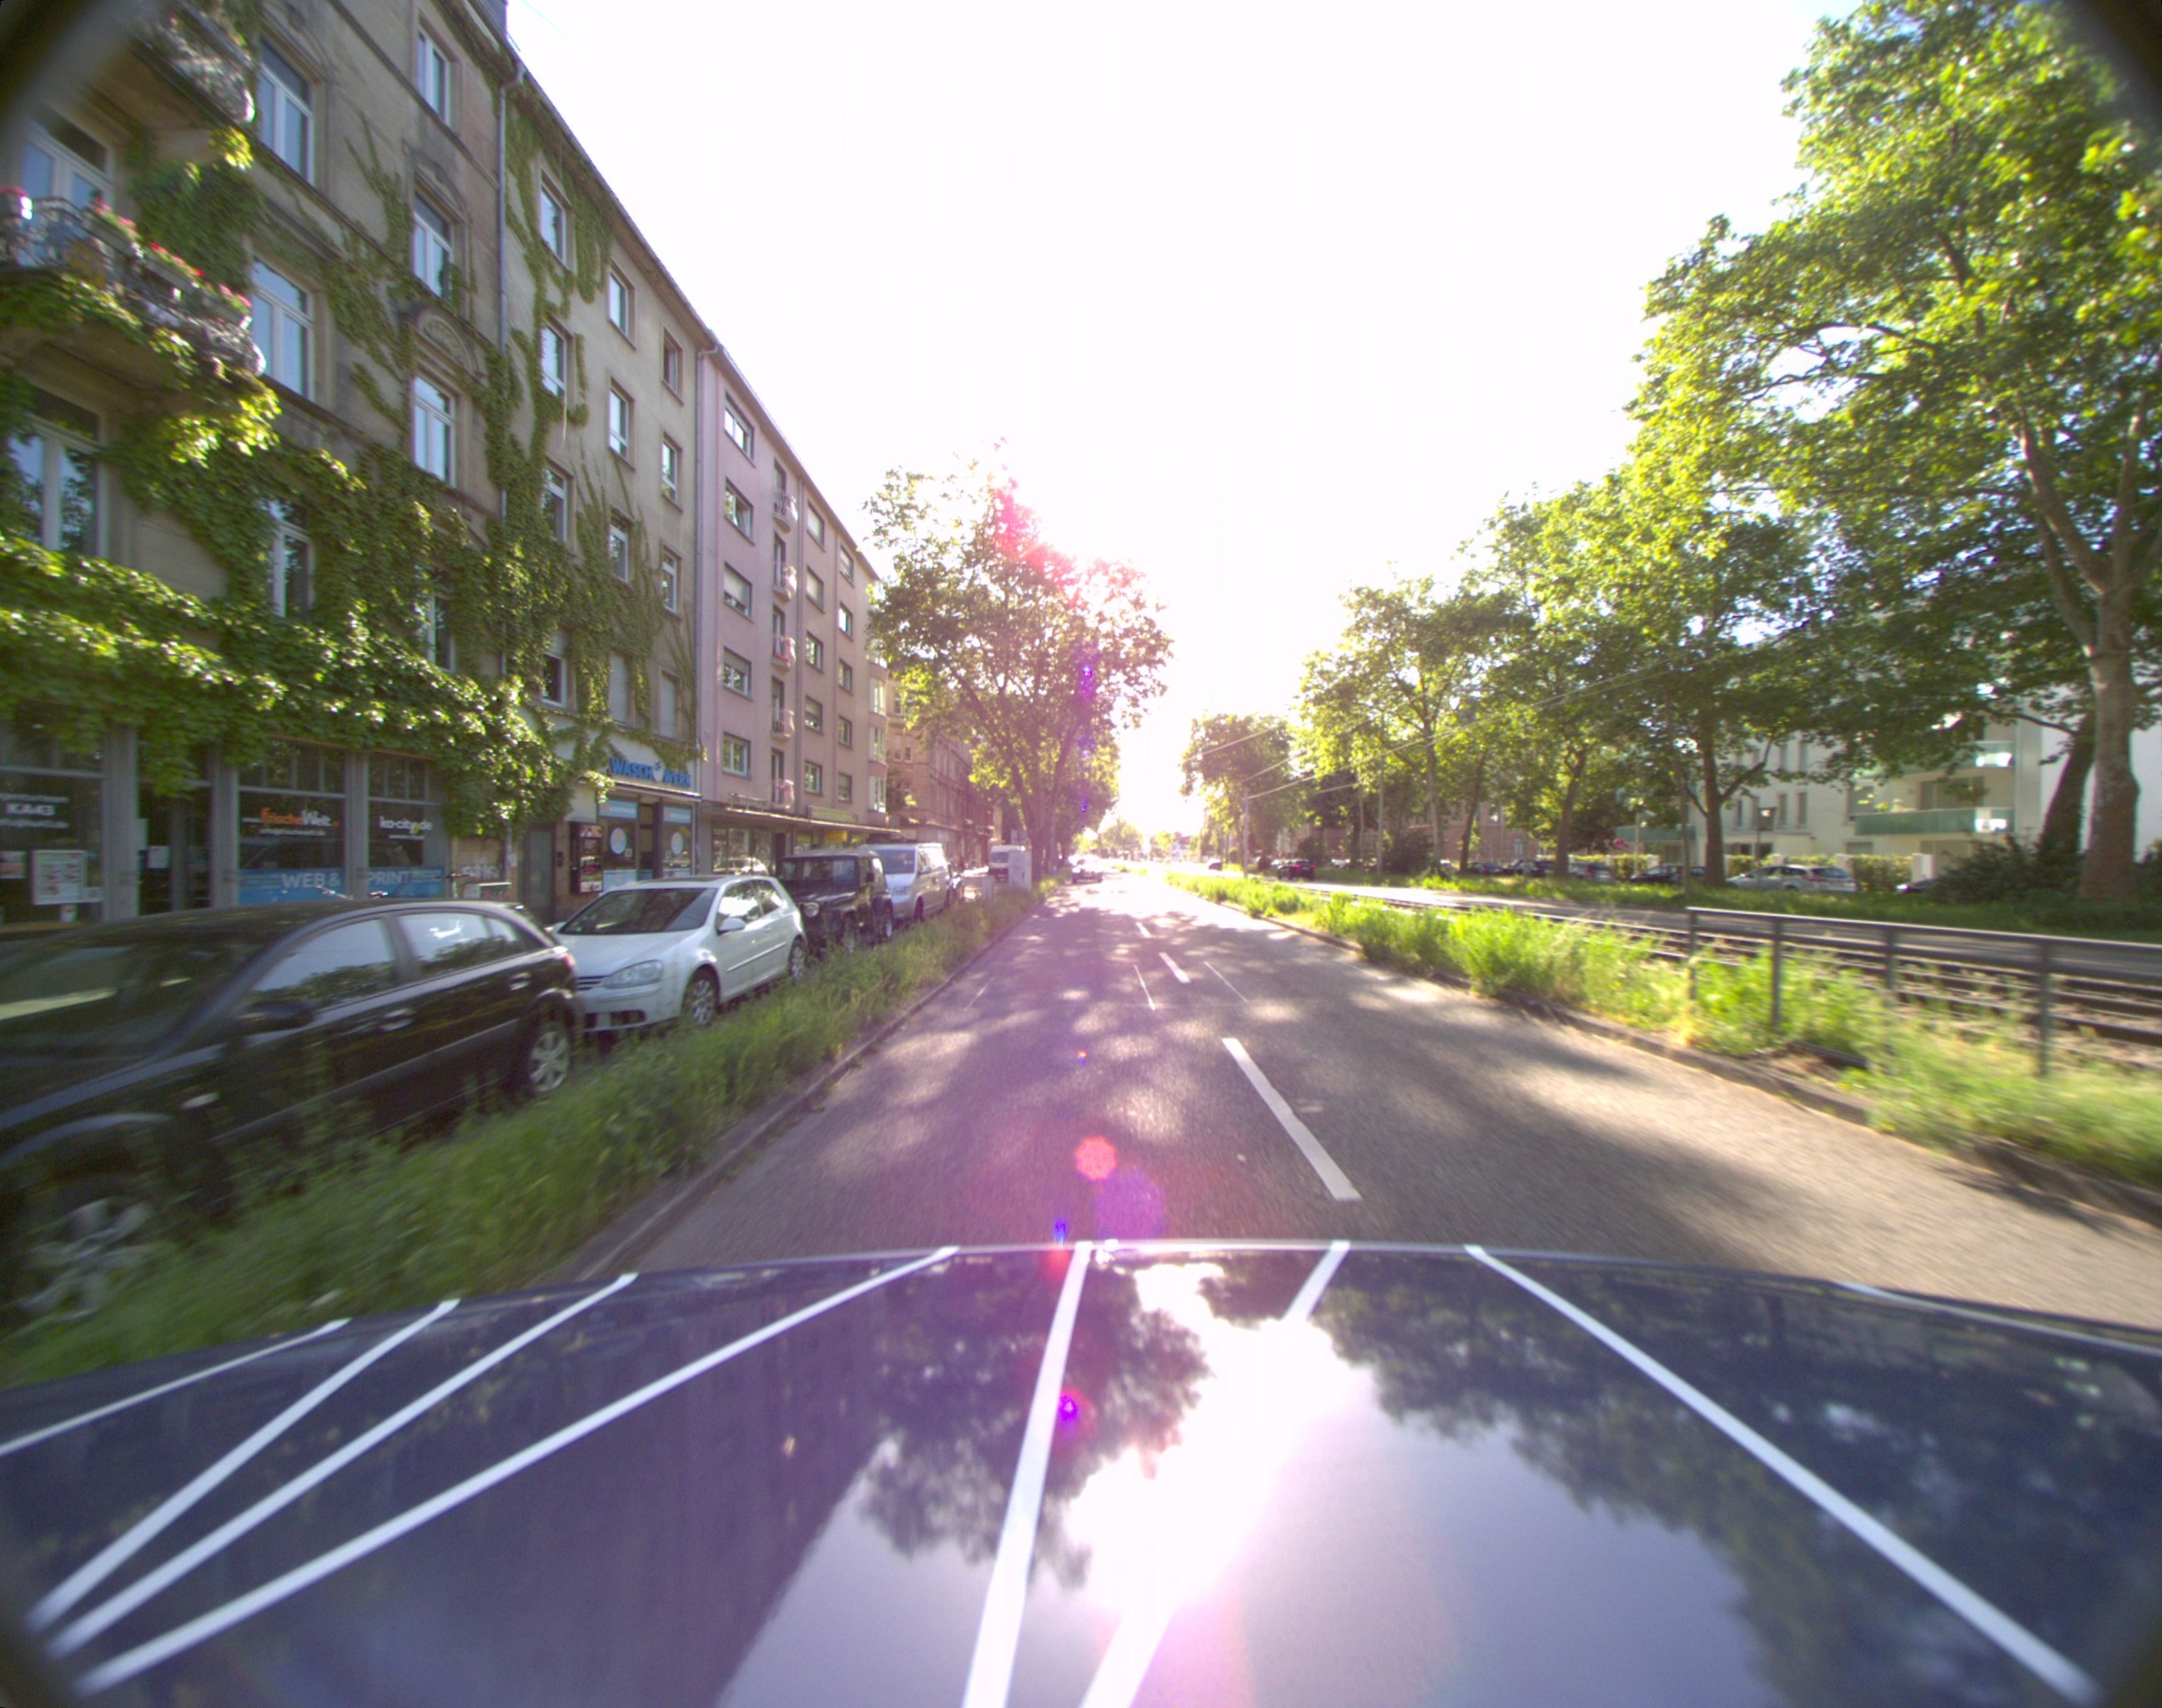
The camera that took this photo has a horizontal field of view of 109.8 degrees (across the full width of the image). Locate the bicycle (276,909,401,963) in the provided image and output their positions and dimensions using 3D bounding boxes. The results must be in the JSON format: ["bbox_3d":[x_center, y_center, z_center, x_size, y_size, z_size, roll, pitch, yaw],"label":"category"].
[{"bbox_3d":[-11.580,1.257,11.909,0.469,0.701,1.513,0,0,1],"label":"bicycle"}]

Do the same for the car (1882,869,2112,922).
[{"bbox_3d":[28.212,1.219,23.677,1.998,1.444,4.319,0,0,1],"label":"car"}]

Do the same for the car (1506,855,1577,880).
[{"bbox_3d":[28.443,0.824,47.091,1.998,1.477,4.000,0,0,1],"label":"car"}]

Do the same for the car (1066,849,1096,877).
[{"bbox_3d":[0.027,0.583,49.976,1.876,1.788,4.633,0,0,1],"label":"car"}]

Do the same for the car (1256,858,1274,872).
[{"bbox_3d":[27.394,1.629,113.397,1.998,2.002,4.002,0,0,5],"label":"car"}]

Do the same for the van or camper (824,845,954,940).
[{"bbox_3d":[-4.442,0.818,18.473,1.889,2.002,5.094,0,0,0],"label":"van or camper"}]

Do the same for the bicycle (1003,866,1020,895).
[{"bbox_3d":[-3.068,1.169,33.667,0.466,1.207,1.751,0,0,4],"label":"bicycle"}]

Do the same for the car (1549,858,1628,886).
[{"bbox_3d":[28.278,0.982,42.495,1.801,1.464,4.000,0,0,1],"label":"car"}]

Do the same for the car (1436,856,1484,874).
[{"bbox_3d":[31.572,0.920,63.429,1.998,1.477,4.000,0,0,1],"label":"car"}]

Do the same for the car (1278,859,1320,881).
[{"bbox_3d":[17.079,1.223,59.749,1.862,1.637,4.460,2,0,-1],"label":"car"}]

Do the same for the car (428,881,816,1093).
[{"bbox_3d":[-4.423,1.149,8.176,1.743,1.508,3.999,-3,0,-1],"label":"car"}]

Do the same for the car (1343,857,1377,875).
[{"bbox_3d":[28.281,1.211,77.122,1.998,1.838,4.000,0,0,1],"label":"car"}]

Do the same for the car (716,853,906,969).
[{"bbox_3d":[-4.530,0.869,13.446,1.869,1.753,4.000,0,0,1],"label":"car"}]

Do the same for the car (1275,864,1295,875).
[{"bbox_3d":[27.637,2.096,103.063,1.771,1.477,3.688,0,0,1],"label":"car"}]

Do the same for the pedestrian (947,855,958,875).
[{"bbox_3d":[-10.120,0.868,59.965,0.738,1.556,0.731,0,-1,1],"label":"pedestrian"}]

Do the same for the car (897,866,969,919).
[{"bbox_3d":[-4.552,1.150,23.846,1.594,1.470,3.828,0,0,-1],"label":"car"}]

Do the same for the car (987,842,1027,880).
[{"bbox_3d":[-4.993,0.462,52.218,2.079,2.420,5.856,-1,0,1],"label":"car"}]

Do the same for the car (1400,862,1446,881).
[{"bbox_3d":[28.260,1.400,62.894,1.998,1.477,4.000,0,0,1],"label":"car"}]

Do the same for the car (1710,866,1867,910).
[{"bbox_3d":[28.223,1.312,30.565,1.998,1.582,4.655,0,0,1],"label":"car"}]

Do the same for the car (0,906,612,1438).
[{"bbox_3d":[-4.387,1.181,3.766,1.645,1.508,3.999,-3,0,-1],"label":"car"}]
